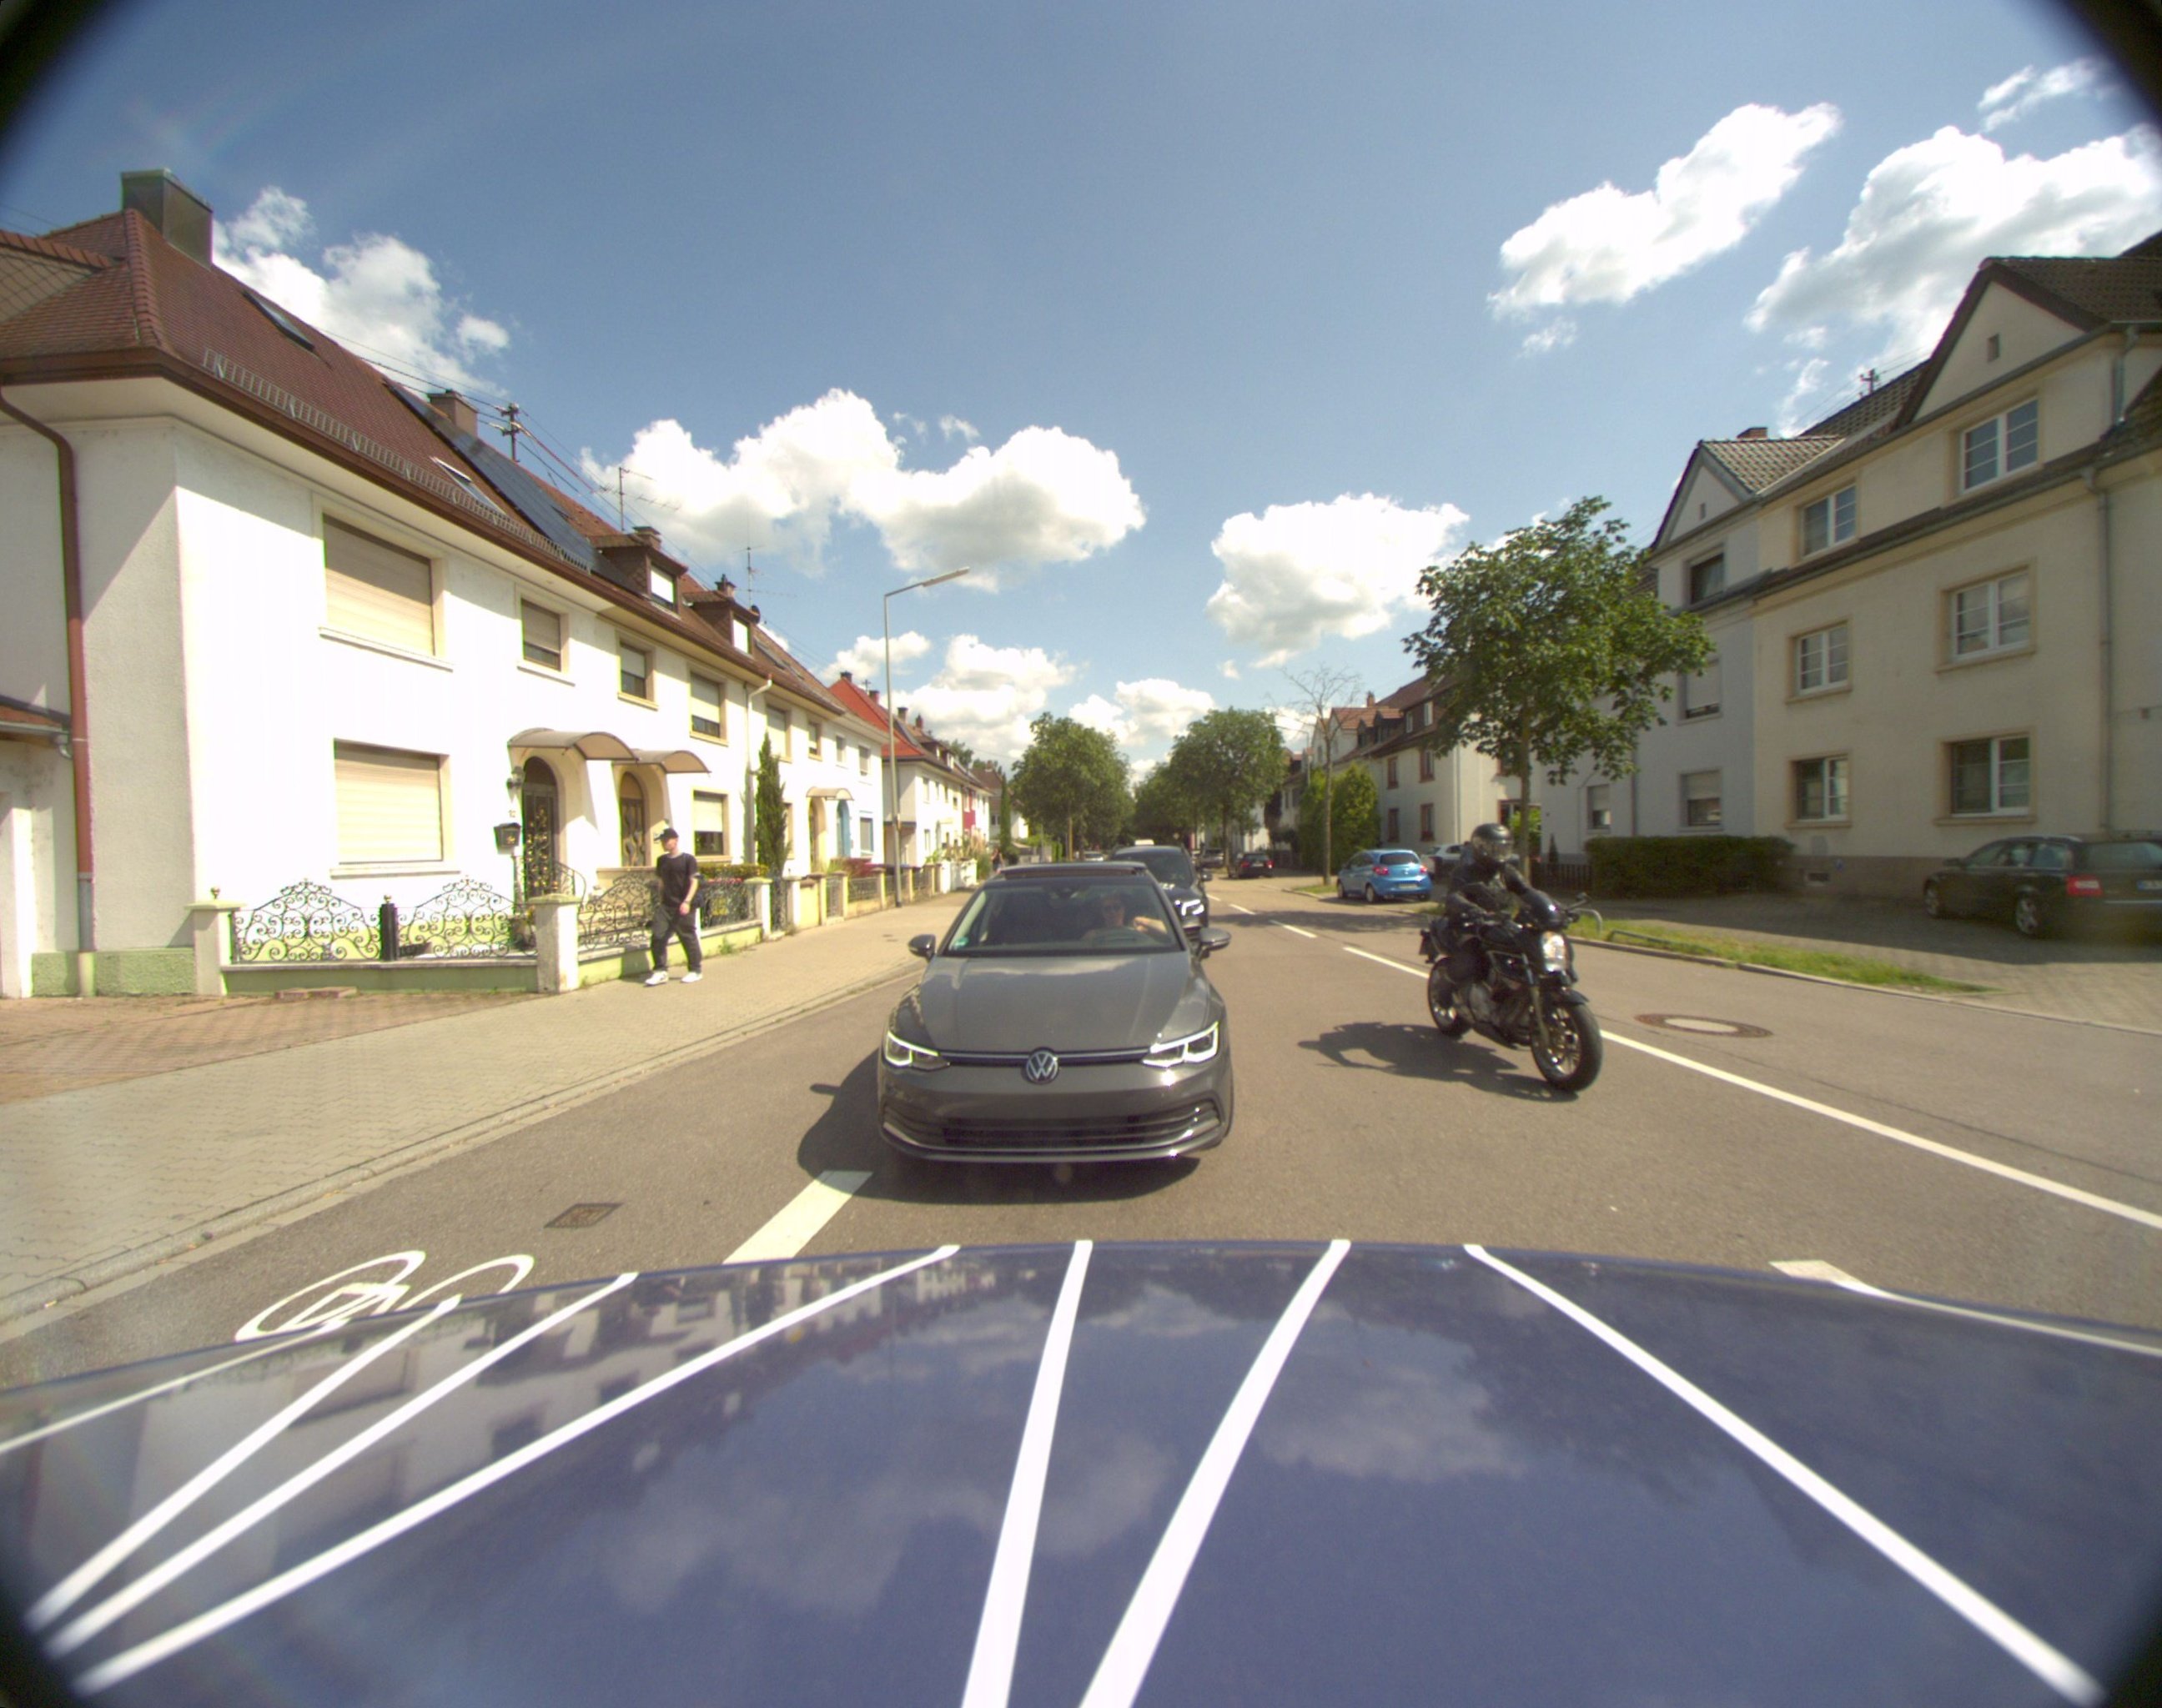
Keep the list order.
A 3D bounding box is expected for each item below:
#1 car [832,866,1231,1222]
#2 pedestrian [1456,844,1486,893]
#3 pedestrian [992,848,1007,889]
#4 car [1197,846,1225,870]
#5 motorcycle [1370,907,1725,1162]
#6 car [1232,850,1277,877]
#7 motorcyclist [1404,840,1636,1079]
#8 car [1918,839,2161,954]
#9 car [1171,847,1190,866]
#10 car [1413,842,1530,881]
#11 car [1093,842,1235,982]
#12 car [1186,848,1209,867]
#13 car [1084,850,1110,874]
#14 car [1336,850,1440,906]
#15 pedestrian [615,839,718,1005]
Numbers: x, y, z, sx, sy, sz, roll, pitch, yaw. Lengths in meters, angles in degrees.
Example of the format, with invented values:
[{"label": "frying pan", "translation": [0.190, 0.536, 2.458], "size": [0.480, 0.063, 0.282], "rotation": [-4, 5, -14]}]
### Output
[{"label": "car", "translation": [-0.250, 0.895, 5.769], "size": [1.766, 1.465, 4.686], "rotation": [-1, 0, -1]}, {"label": "pedestrian", "translation": [12.208, 0.443, 23.801], "size": [0.631, 1.527, 0.618], "rotation": [-1, 1, 5]}, {"label": "pedestrian", "translation": [-3.448, 0.612, 32.282], "size": [0.519, 1.701, 0.618], "rotation": [-1, 1, 2]}, {"label": "car", "translation": [9.122, 0.258, 53.428], "size": [1.562, 1.645, 3.574], "rotation": [-1, 0, 4]}, {"label": "motorcycle", "translation": [2.875, 1.017, 5.115], "size": [0.843, 1.121, 2.358], "rotation": [-1, 0, -3]}, {"label": "car", "translation": [8.955, 0.465, 39.486], "size": [1.709, 1.289, 3.918], "rotation": [-1, 0, 4]}, {"label": "motorcyclist", "translation": [2.866, 0.648, 5.106], "size": [0.825, 1.390, 1.100], "rotation": [-3, -2, -3]}, {"label": "car", "translation": [14.244, 0.500, 10.990], "size": [1.757, 1.378, 4.110], "rotation": [-1, 1, 31]}, {"label": "car", "translation": [8.941, 0.222, 68.496], "size": [1.562, 1.645, 3.252], "rotation": [-1, 0, 4]}, {"label": "car", "translation": [15.636, 0.288, 30.578], "size": [3.805, 1.446, 1.711], "rotation": [-1, 1, 4]}, {"label": "car", "translation": [1.115, 0.723, 12.108], "size": [1.776, 1.754, 4.874], "rotation": [-1, 0, 1]}, {"label": "car", "translation": [9.130, 0.276, 59.454], "size": [1.623, 1.417, 3.002], "rotation": [-2, 0, 6]}, {"label": "car", "translation": [1.076, 0.480, 49.958], "size": [1.381, 1.493, 3.002], "rotation": [-2, 0, 6]}, {"label": "car", "translation": [8.627, 0.625, 21.650], "size": [1.709, 1.454, 3.154], "rotation": [-1, 0, 1]}, {"label": "pedestrian", "translation": [-4.614, 0.719, 8.514], "size": [0.592, 1.757, 0.937], "rotation": [-1, 1, 1]}]
